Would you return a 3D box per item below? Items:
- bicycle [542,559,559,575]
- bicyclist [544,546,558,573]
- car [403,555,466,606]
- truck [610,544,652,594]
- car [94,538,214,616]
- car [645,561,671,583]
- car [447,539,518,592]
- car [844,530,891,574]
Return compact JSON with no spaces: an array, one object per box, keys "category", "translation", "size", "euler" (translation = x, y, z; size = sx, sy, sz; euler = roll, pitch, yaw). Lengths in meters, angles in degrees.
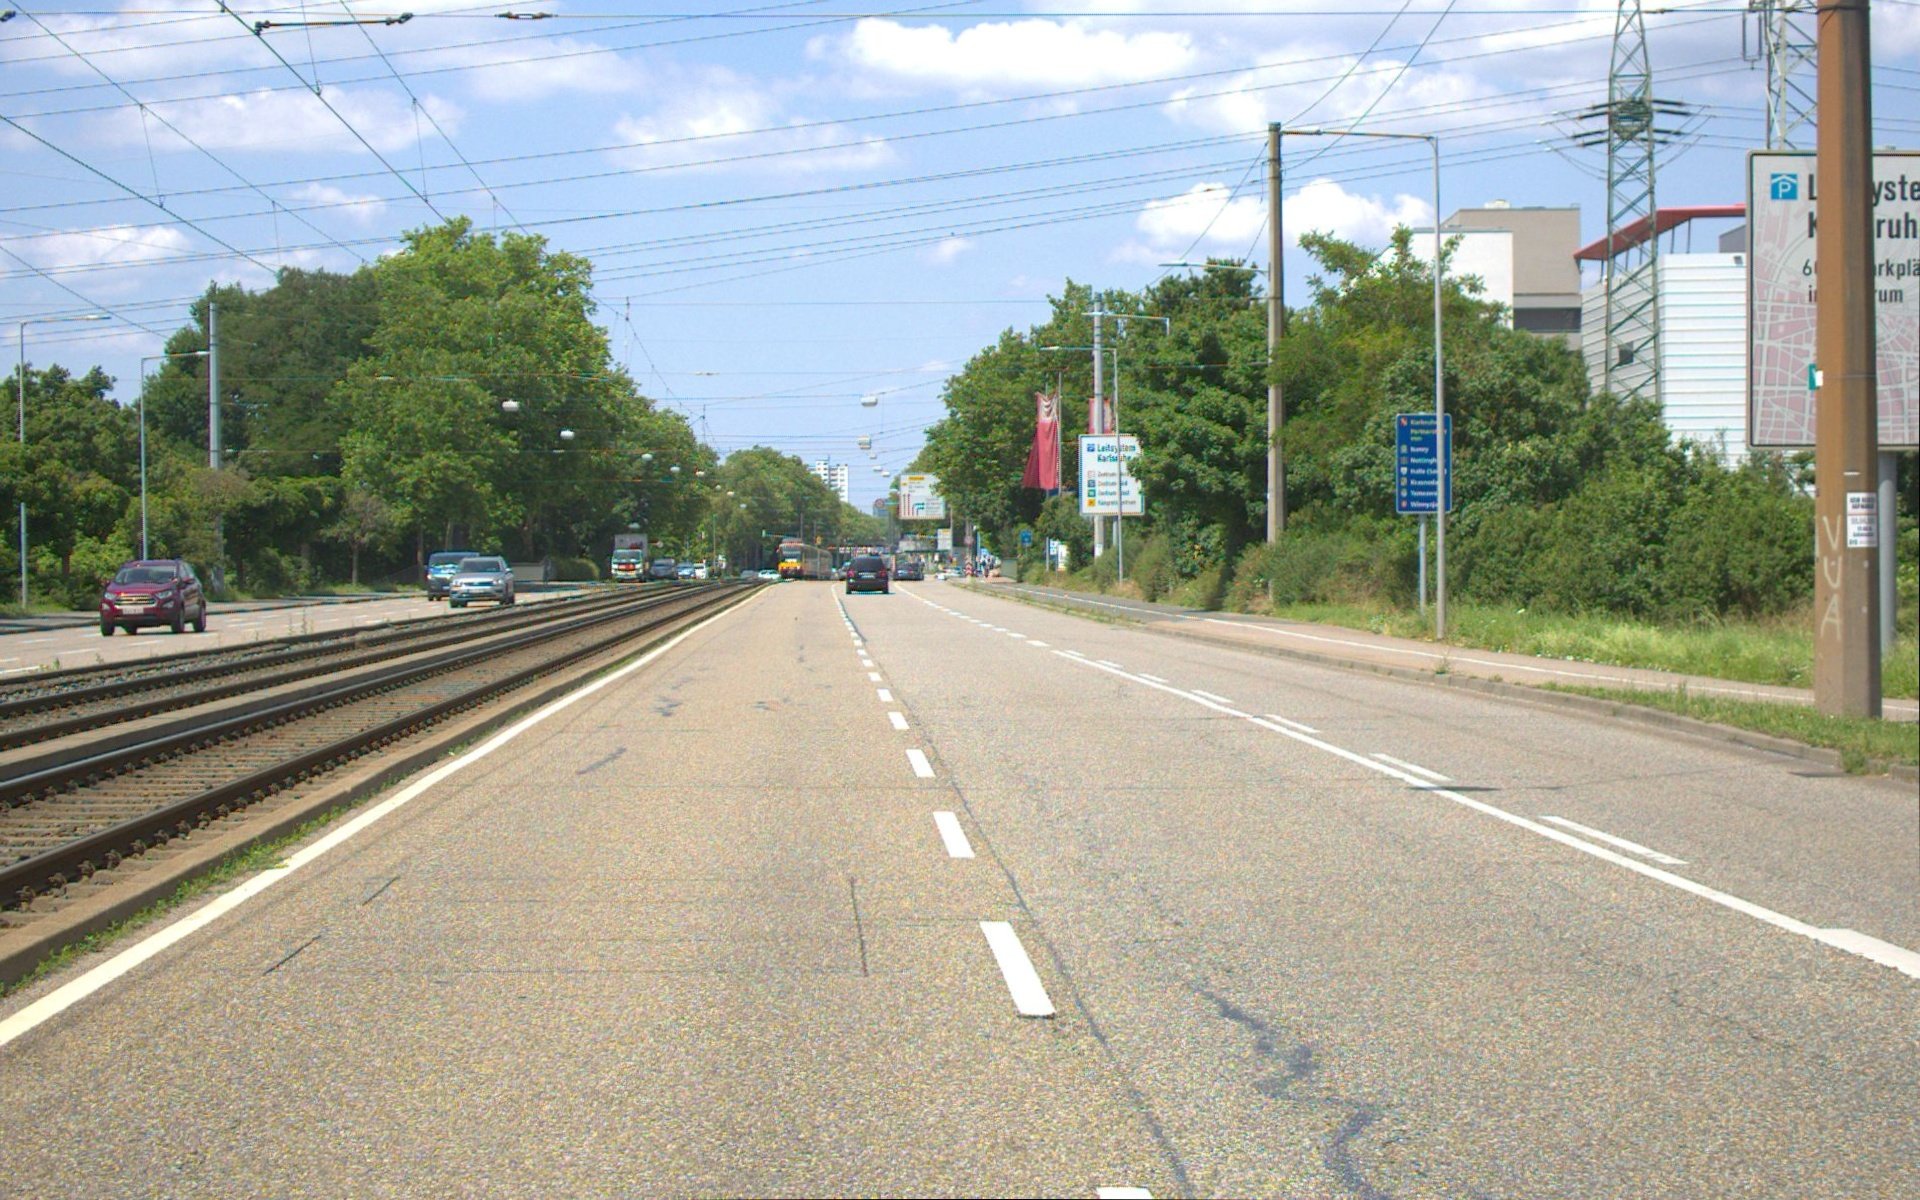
[{"category":"bicycle","translation":[-24.361,-1.967,204.685],"size":[0.623,0.976,2.054],"euler":[2,1,4]},{"category":"bicyclist","translation":[-24.349,-2.412,204.640],"size":[0.623,1.612,1.062],"euler":[2,1,4]},{"category":"car","translation":[-21.084,-0.815,138.094],"size":[1.857,1.921,5.008],"euler":[-2,1,-2]},{"category":"truck","translation":[-21.829,-2.064,228.550],"size":[2.249,3.225,6.042],"euler":[-1,1,-1]},{"category":"car","translation":[-17.875,-0.538,76.408],"size":[1.801,1.619,4.212],"euler":[-2,1,-3]},{"category":"car","translation":[-22.065,-2.034,251.132],"size":[1.752,1.530,3.958],"euler":[-2,1,-3]},{"category":"car","translation":[-15.529,-1.153,111.950],"size":[1.801,1.619,4.495],"euler":[-2,1,-3]},{"category":"car","translation":[-3.907,-2.020,145.113],"size":[1.899,1.799,3.977],"euler":[1,1,-2]}]
